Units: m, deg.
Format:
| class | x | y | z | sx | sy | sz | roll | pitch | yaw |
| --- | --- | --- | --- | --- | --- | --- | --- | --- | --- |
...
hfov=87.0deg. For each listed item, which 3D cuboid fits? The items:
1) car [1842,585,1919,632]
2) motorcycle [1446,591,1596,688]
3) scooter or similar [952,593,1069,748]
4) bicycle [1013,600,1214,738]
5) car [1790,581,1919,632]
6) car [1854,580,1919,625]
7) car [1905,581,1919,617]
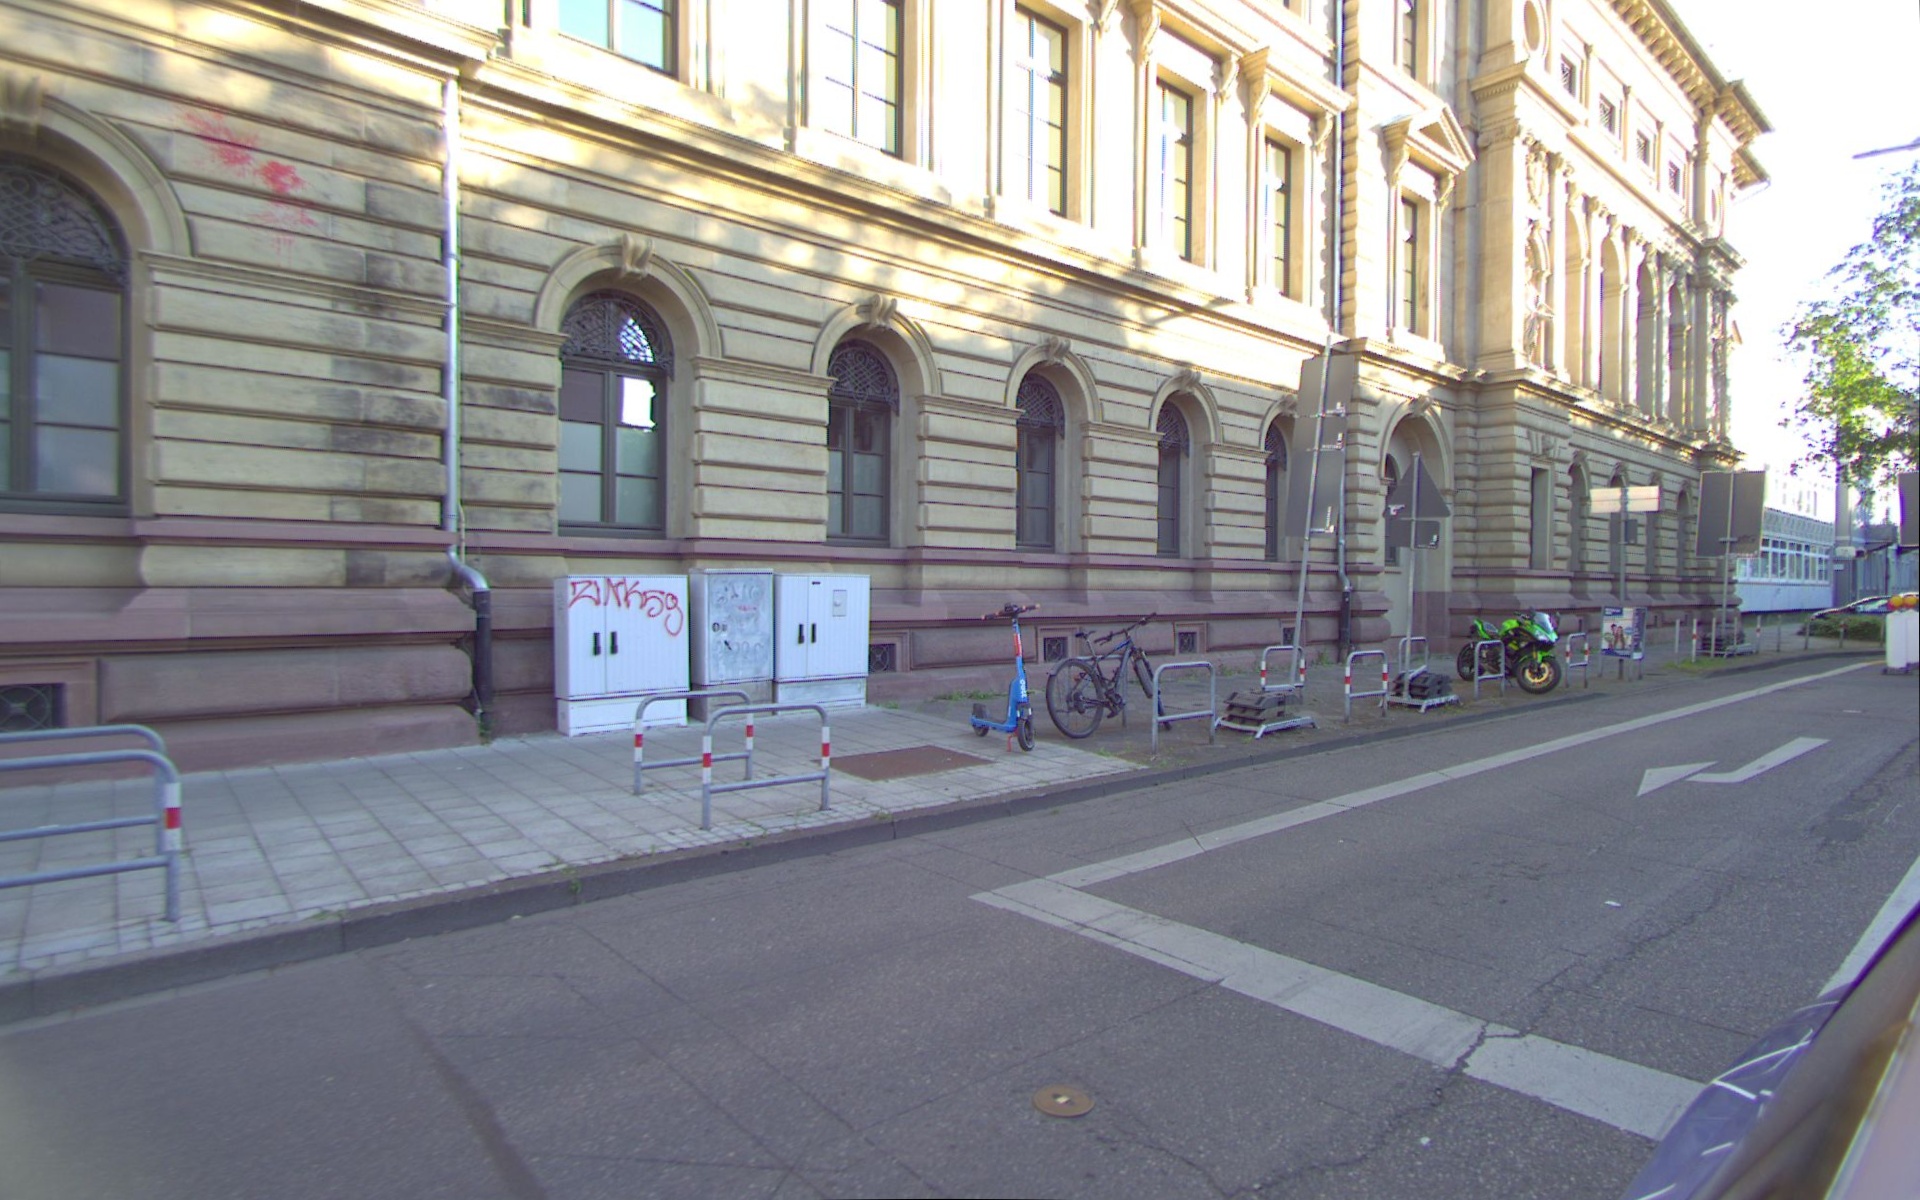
| class | x | y | z | sx | sy | sz | roll | pitch | yaw |
| --- | --- | --- | --- | --- | --- | --- | --- | --- | --- |
| car | 33.623 | 0.342 | 35.087 | 1.643 | 1.513 | 4.367 | 0 | 4 | -40 |
| motorcycle | 8.236 | 0.541 | 14.984 | 0.695 | 1.230 | 2.109 | 1 | 3 | -11 |
| scooter or similar | 0.418 | 0.576 | 8.899 | 0.572 | 1.210 | 1.136 | 0 | 3 | -22 |
| bicycle | 1.512 | 0.608 | 9.783 | 1.910 | 1.148 | 0.829 | 0 | 3 | -41 |
| car | 30.999 | 0.209 | 34.196 | 1.804 | 1.482 | 4.362 | -1 | 4 | -44 |
| car | 38.093 | 0.146 | 39.642 | 2.020 | 1.662 | 4.364 | 0 | 4 | -42 |
| car | 46.432 | 0.038 | 46.402 | 1.704 | 1.644 | 4.364 | 0 | 3 | -42 |
